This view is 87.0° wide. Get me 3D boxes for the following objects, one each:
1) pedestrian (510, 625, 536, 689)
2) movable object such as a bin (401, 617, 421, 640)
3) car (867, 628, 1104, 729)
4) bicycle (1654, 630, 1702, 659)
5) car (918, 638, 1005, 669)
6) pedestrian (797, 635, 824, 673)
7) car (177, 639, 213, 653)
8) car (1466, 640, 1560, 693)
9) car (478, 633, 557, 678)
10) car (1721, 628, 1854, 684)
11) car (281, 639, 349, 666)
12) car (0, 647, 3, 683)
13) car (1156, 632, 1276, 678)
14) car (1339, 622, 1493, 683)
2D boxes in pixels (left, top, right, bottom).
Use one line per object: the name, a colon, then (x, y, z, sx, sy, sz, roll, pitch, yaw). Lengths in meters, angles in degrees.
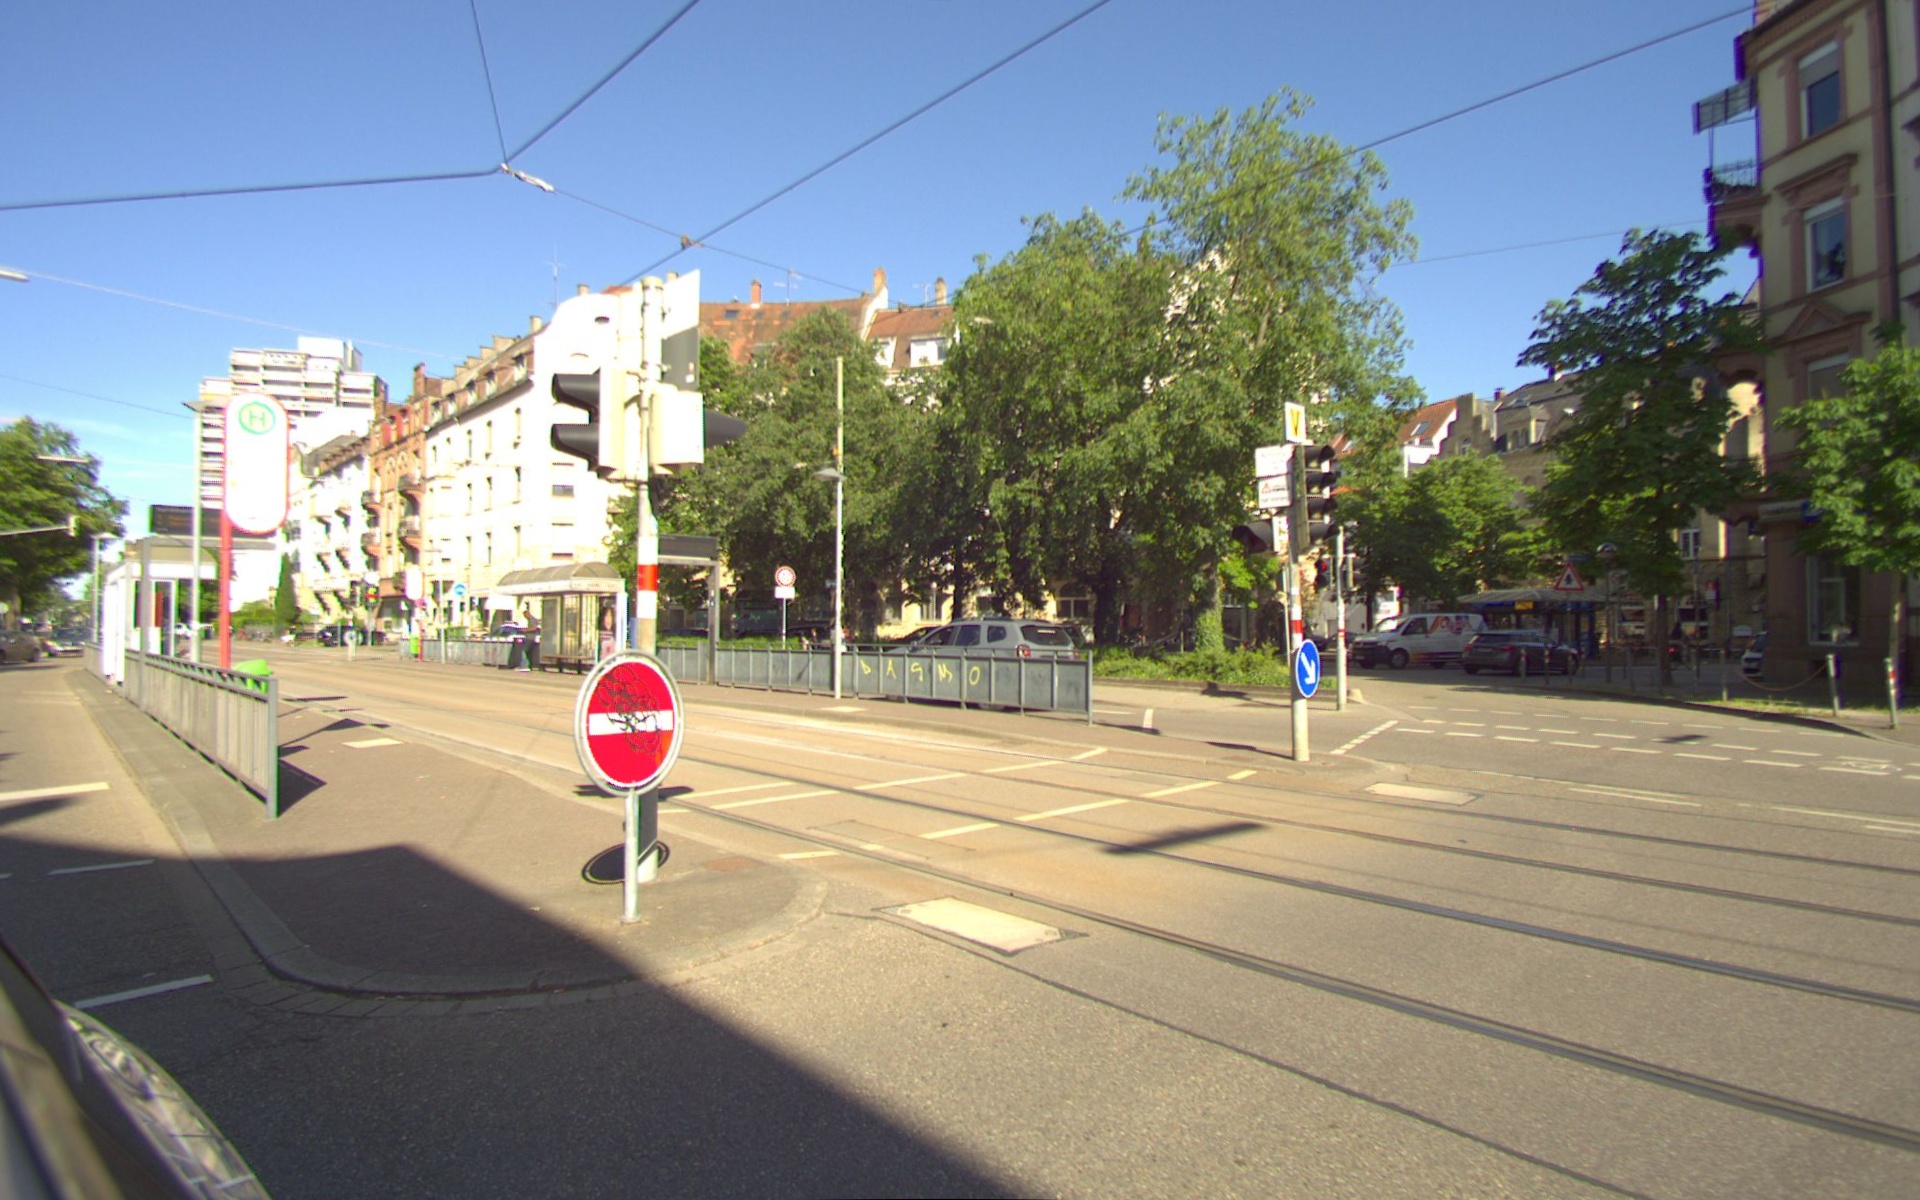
pedestrian: (-12.575, 1.627, 29.101, 0.459, 1.798, 0.674, 2, -3, -44)
movable object such as a bin: (-32.741, 1.697, 60.369, 0.748, 1.318, 0.866, -2, -1, 41)
car: (0.367, 1.355, 18.478, 1.874, 1.630, 4.269, 4, -4, -43)
bicycle: (25.927, 1.590, 36.540, 1.522, 1.000, 0.576, -1, -1, -17)
car: (0.047, 2.253, 42.968, 3.447, 1.225, 1.510, -2, -1, 33)
pedestrian: (-5.281, 1.890, 35.712, 0.649, 1.291, 0.725, 0, -1, -43)
car: (-85.625, 5.133, 113.273, 1.547, 1.431, 3.222, -1, -1, 0)
car: (17.297, 2.021, 31.626, 3.404, 1.453, 1.580, 0, -1, -43)
car: (-16.456, 2.057, 37.562, 1.669, 1.552, 3.805, 5, -5, -39)
car: (26.174, 1.724, 32.027, 3.397, 1.613, 1.720, -1, -1, -20)
car: (-46.631, 3.773, 73.241, 1.818, 1.600, 3.833, 3, 3, 42)
car: (-39.759, 2.651, 40.741, 1.700, 1.409, 3.617, 0, -1, -42)
car: (9.341, 1.981, 36.935, 3.995, 1.554, 1.724, 0, -3, 26)
car: (16.185, 1.820, 35.979, 4.775, 1.957, 1.931, -1, -1, -16)
